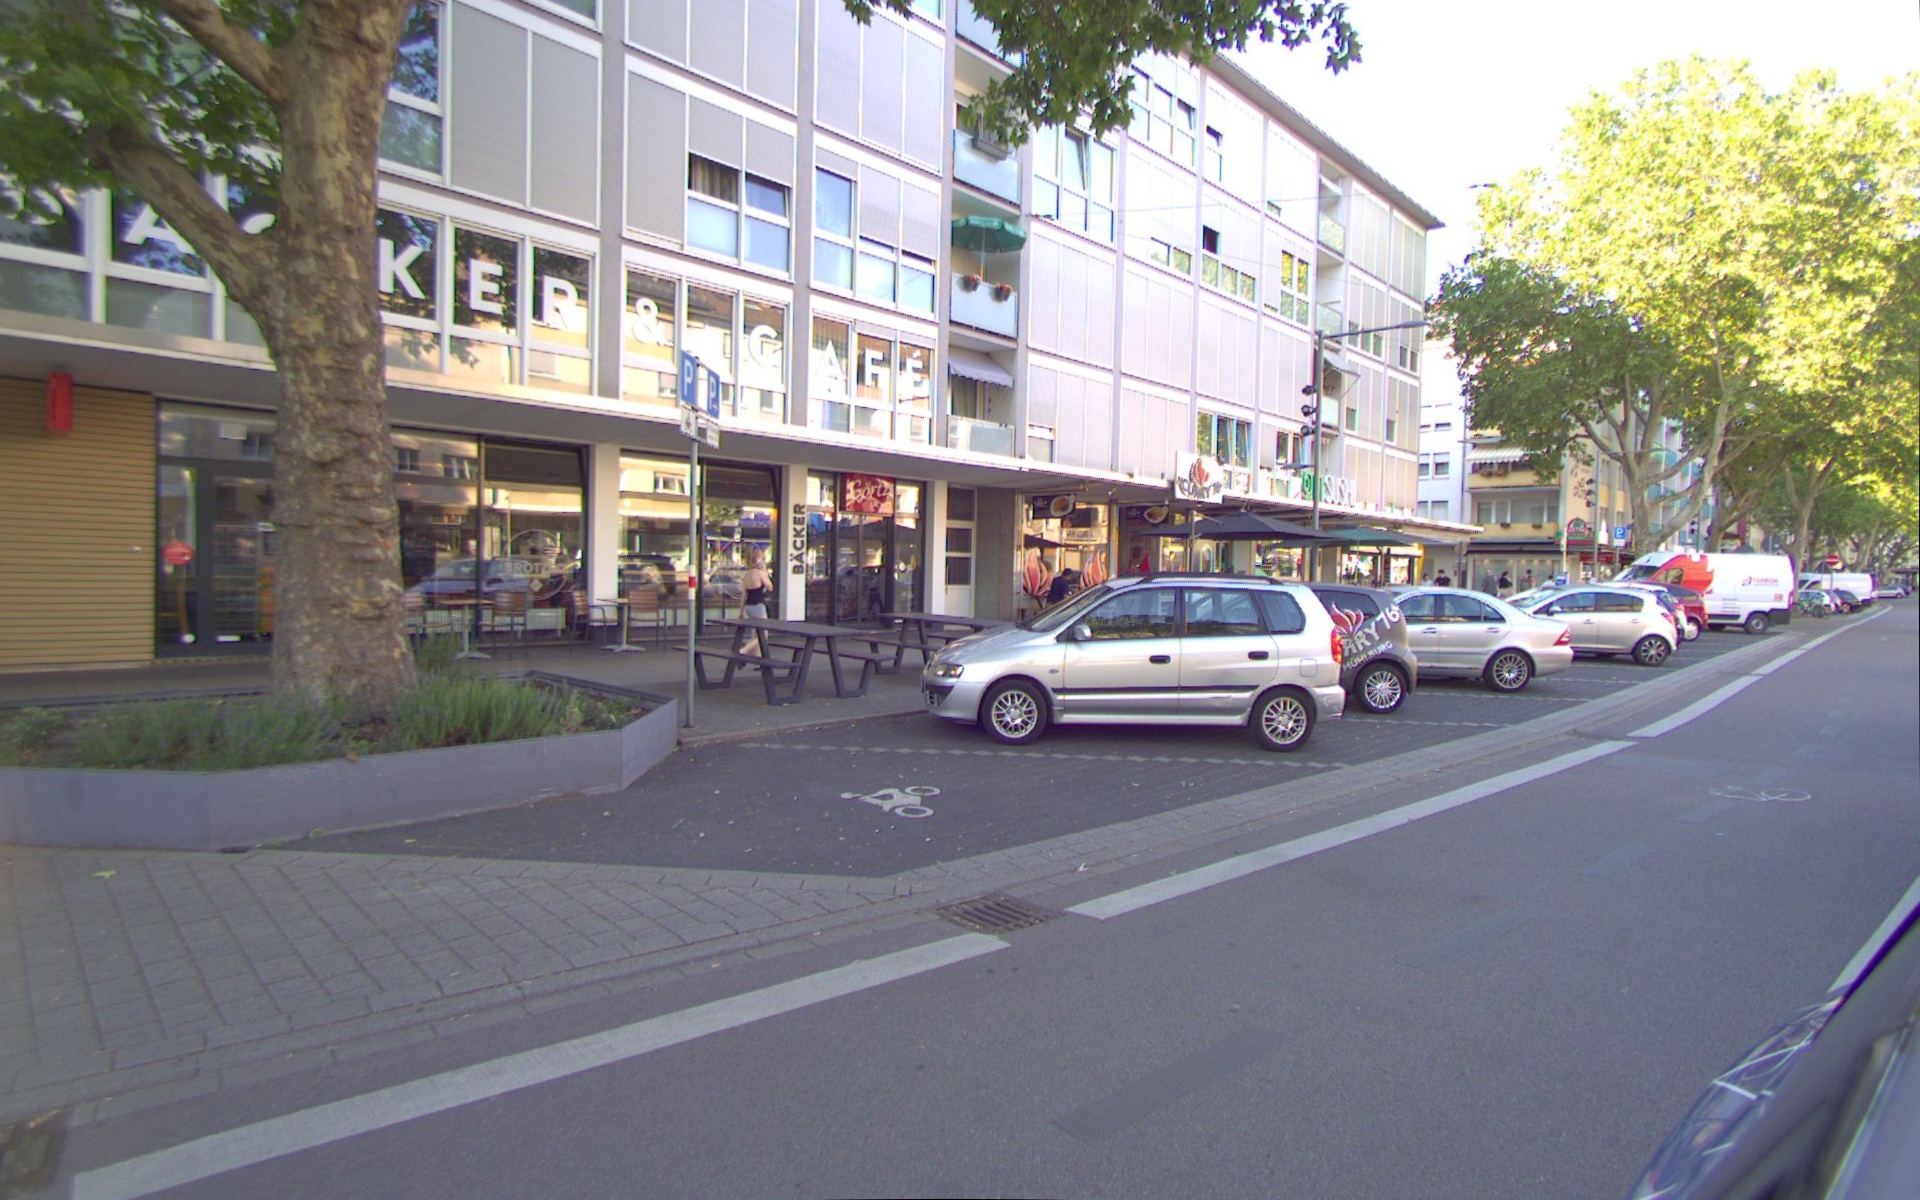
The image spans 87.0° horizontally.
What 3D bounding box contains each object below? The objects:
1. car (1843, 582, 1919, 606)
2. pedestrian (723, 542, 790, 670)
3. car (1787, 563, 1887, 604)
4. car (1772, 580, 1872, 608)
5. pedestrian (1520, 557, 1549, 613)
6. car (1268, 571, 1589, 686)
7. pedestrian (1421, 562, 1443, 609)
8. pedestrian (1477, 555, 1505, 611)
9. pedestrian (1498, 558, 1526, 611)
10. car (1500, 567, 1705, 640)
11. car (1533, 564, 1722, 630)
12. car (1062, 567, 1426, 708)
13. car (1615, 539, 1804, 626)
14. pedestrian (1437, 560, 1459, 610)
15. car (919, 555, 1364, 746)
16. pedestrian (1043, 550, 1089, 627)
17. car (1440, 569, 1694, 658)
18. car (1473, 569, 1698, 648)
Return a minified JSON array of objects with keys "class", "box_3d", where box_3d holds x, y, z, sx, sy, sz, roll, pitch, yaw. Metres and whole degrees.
[{"class":"car","box_3d":[56.321,-0.374,61.373,3.864,1.350,1.782,1,2,3]},{"class":"pedestrian","box_3d":[-2.622,0.064,13.036,0.559,1.596,0.632,2,2,44]},{"class":"car","box_3d":[56.449,-1.080,65.185,4.512,2.499,1.977,1,2,3]},{"class":"car","box_3d":[48.117,-0.350,56.553,3.864,1.422,1.782,1,2,3]},{"class":"pedestrian","box_3d":[21.428,-0.568,37.740,0.746,2.038,0.752,2,2,45]},{"class":"car","box_3d":[6.733,0.379,14.830,3.867,1.418,1.598,2,3,1]},{"class":"pedestrian","box_3d":[16.915,-0.519,36.252,0.536,1.660,0.470,2,2,45]},{"class":"pedestrian","box_3d":[19.573,-0.626,37.313,0.746,2.038,0.550,2,2,45]},{"class":"pedestrian","box_3d":[20.948,-0.598,38.426,0.746,2.000,0.566,3,2,45]},{"class":"car","box_3d":[15.874,0.042,25.215,3.888,1.445,1.669,4,5,17]},{"class":"car","box_3d":[18.090,-0.125,27.624,3.887,1.445,1.669,3,5,17]},{"class":"car","box_3d":[3.320,0.402,12.322,3.864,1.446,1.679,2,3,-3]},{"class":"car","box_3d":[23.653,-0.565,32.073,4.514,2.525,1.675,2,1,5]},{"class":"pedestrian","box_3d":[17.312,-0.531,35.878,0.544,1.741,0.450,2,2,45]},{"class":"car","box_3d":[1.590,0.426,9.822,3.906,1.560,1.679,2,3,-3]},{"class":"pedestrian","box_3d":[2.241,-0.250,21.388,0.757,1.602,0.583,0,2,-39]},{"class":"car","box_3d":[11.765,0.234,19.811,3.871,1.446,1.559,3,3,4]},{"class":"car","box_3d":[13.899,0.148,22.730,3.886,1.446,1.670,3,3,16]}]
